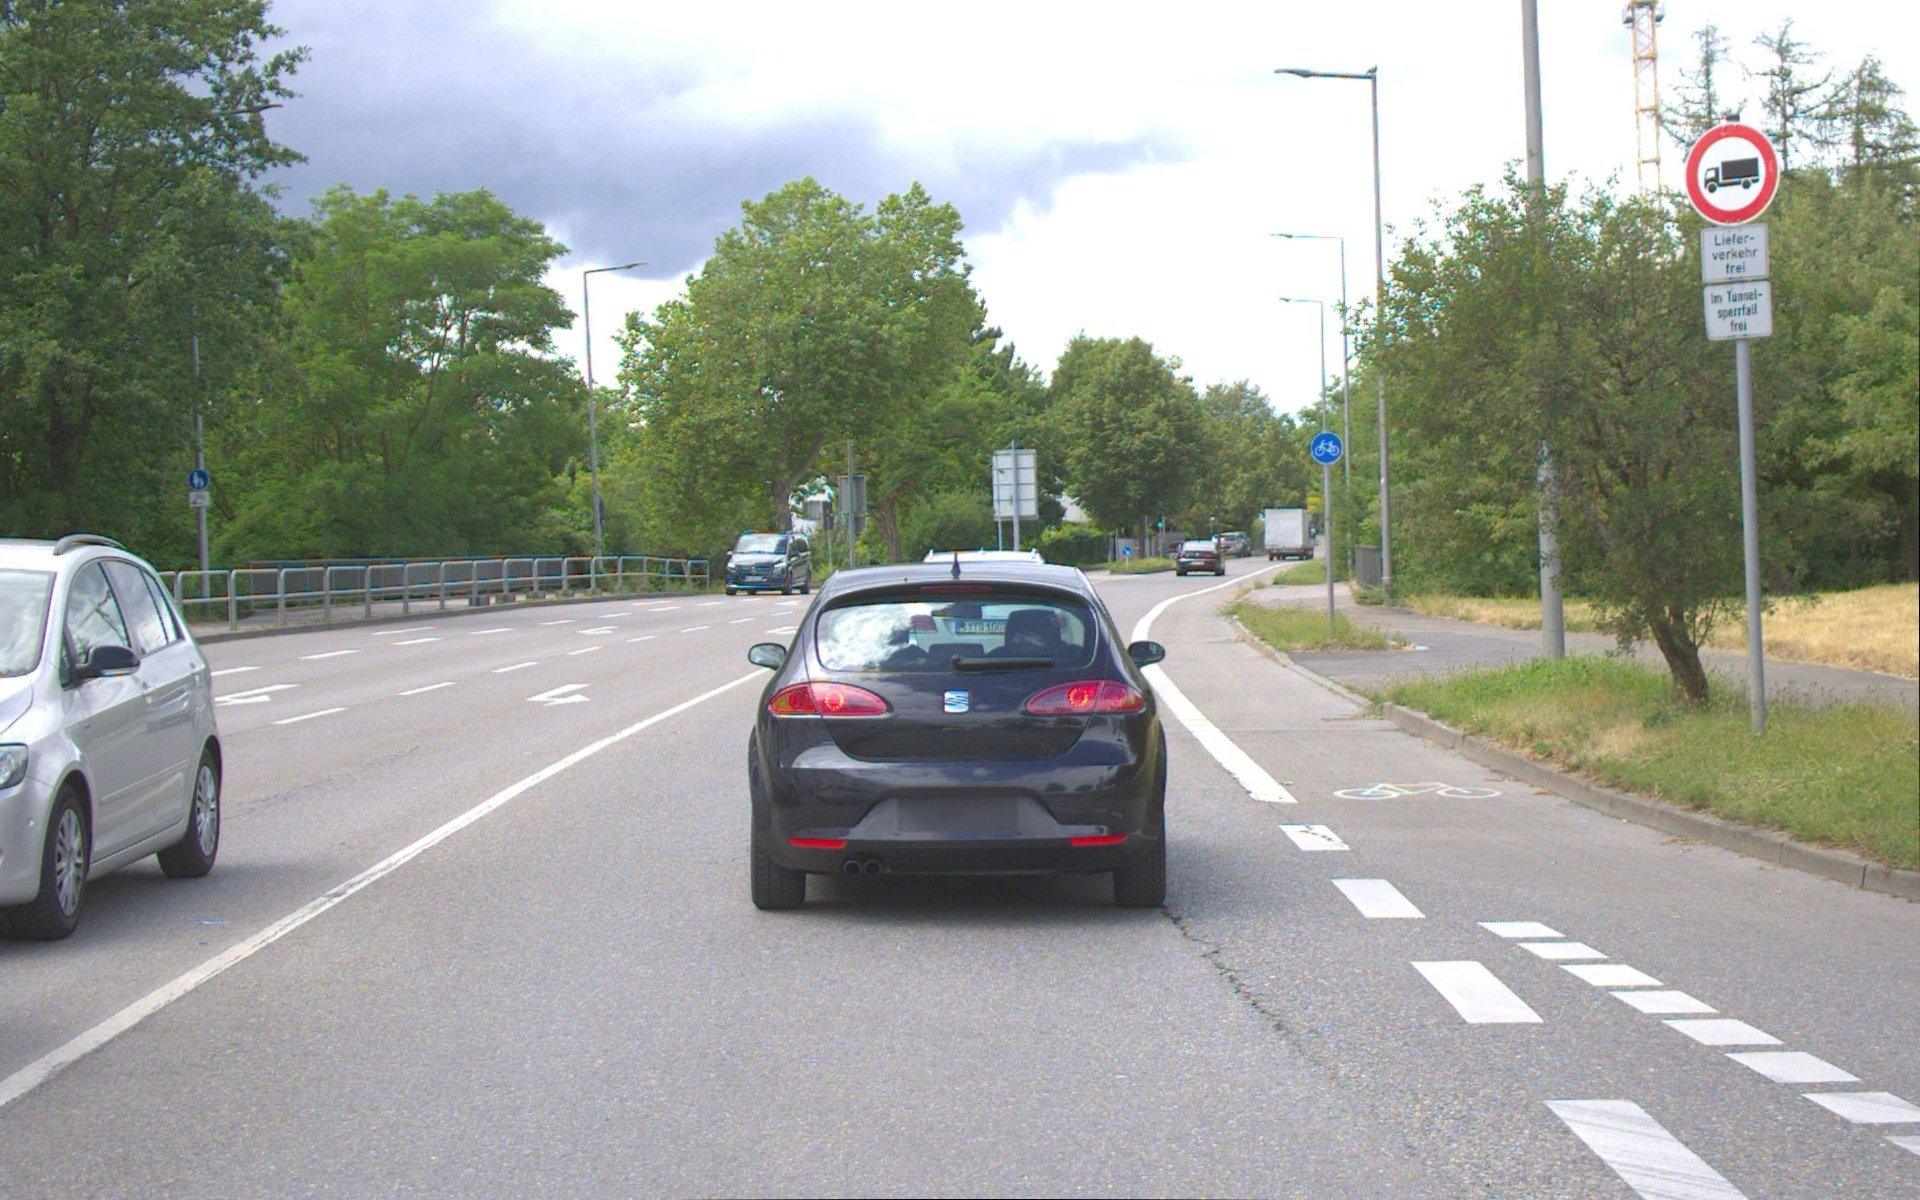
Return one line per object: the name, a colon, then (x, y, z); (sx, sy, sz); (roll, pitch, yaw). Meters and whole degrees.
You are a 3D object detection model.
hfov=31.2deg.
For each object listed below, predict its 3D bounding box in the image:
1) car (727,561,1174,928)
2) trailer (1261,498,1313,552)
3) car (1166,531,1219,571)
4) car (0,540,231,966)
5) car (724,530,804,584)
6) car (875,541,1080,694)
car: (-0.150, 0.546, 15.192); (1.711, 1.412, 3.460); (0, 1, -5)
trailer: (19.457, -4.445, 204.376); (2.492, 3.063, 5.584); (0, 0, 11)
car: (9.445, -1.994, 139.629); (1.994, 1.560, 4.470); (-1, 1, 6)
car: (-4.297, 0.516, 14.419); (1.660, 1.513, 4.084); (0, 1, -1)
car: (-5.810, -1.273, 102.324); (1.715, 1.576, 3.741); (0, 0, 7)
car: (0.124, 0.157, 35.042); (1.834, 1.462, 3.751); (0, 0, -3)
